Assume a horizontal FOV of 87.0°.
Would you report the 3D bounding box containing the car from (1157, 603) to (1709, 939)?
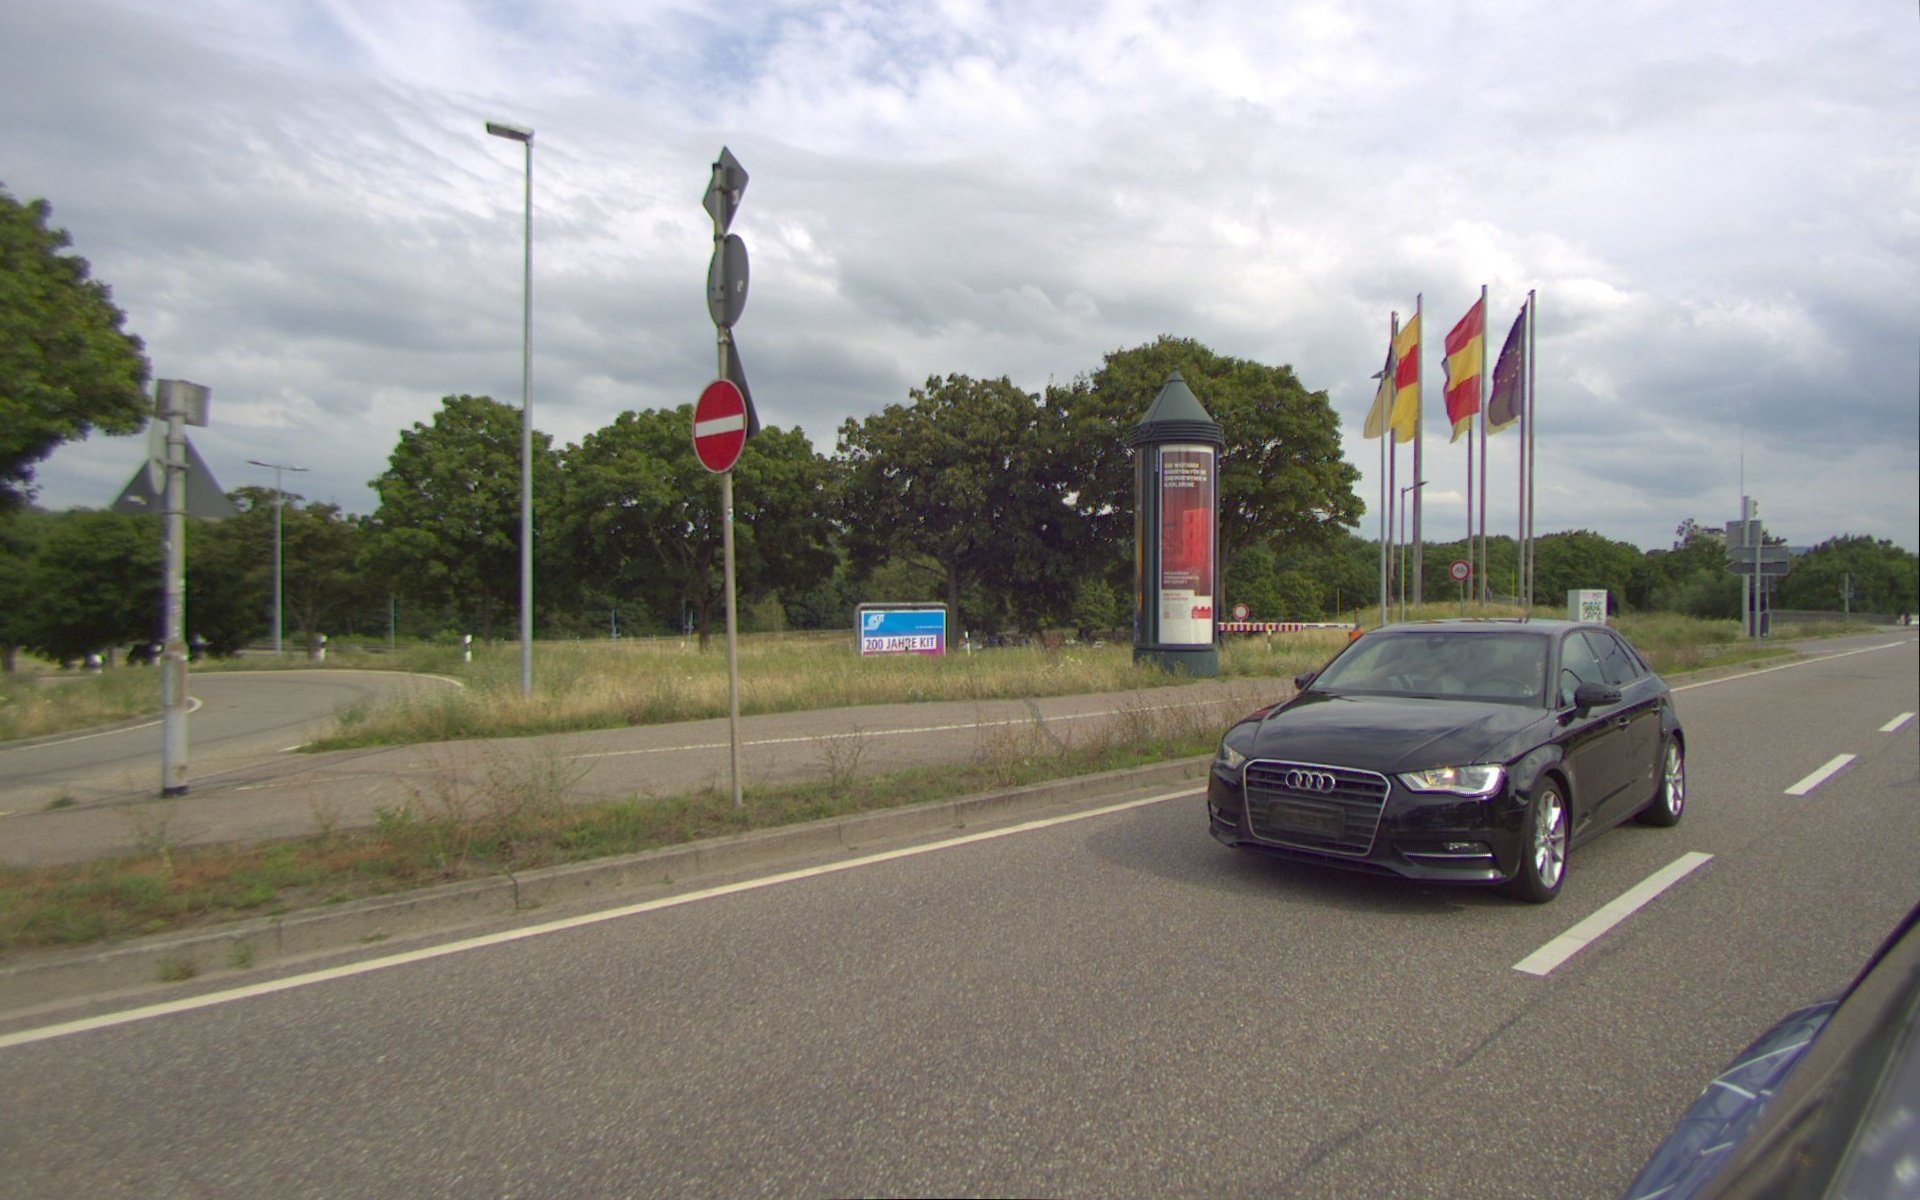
[{"bbox_3d":[3.138,0.748,6.296,4.045,1.413,1.732,1,-1,-43],"label":"car"}]
